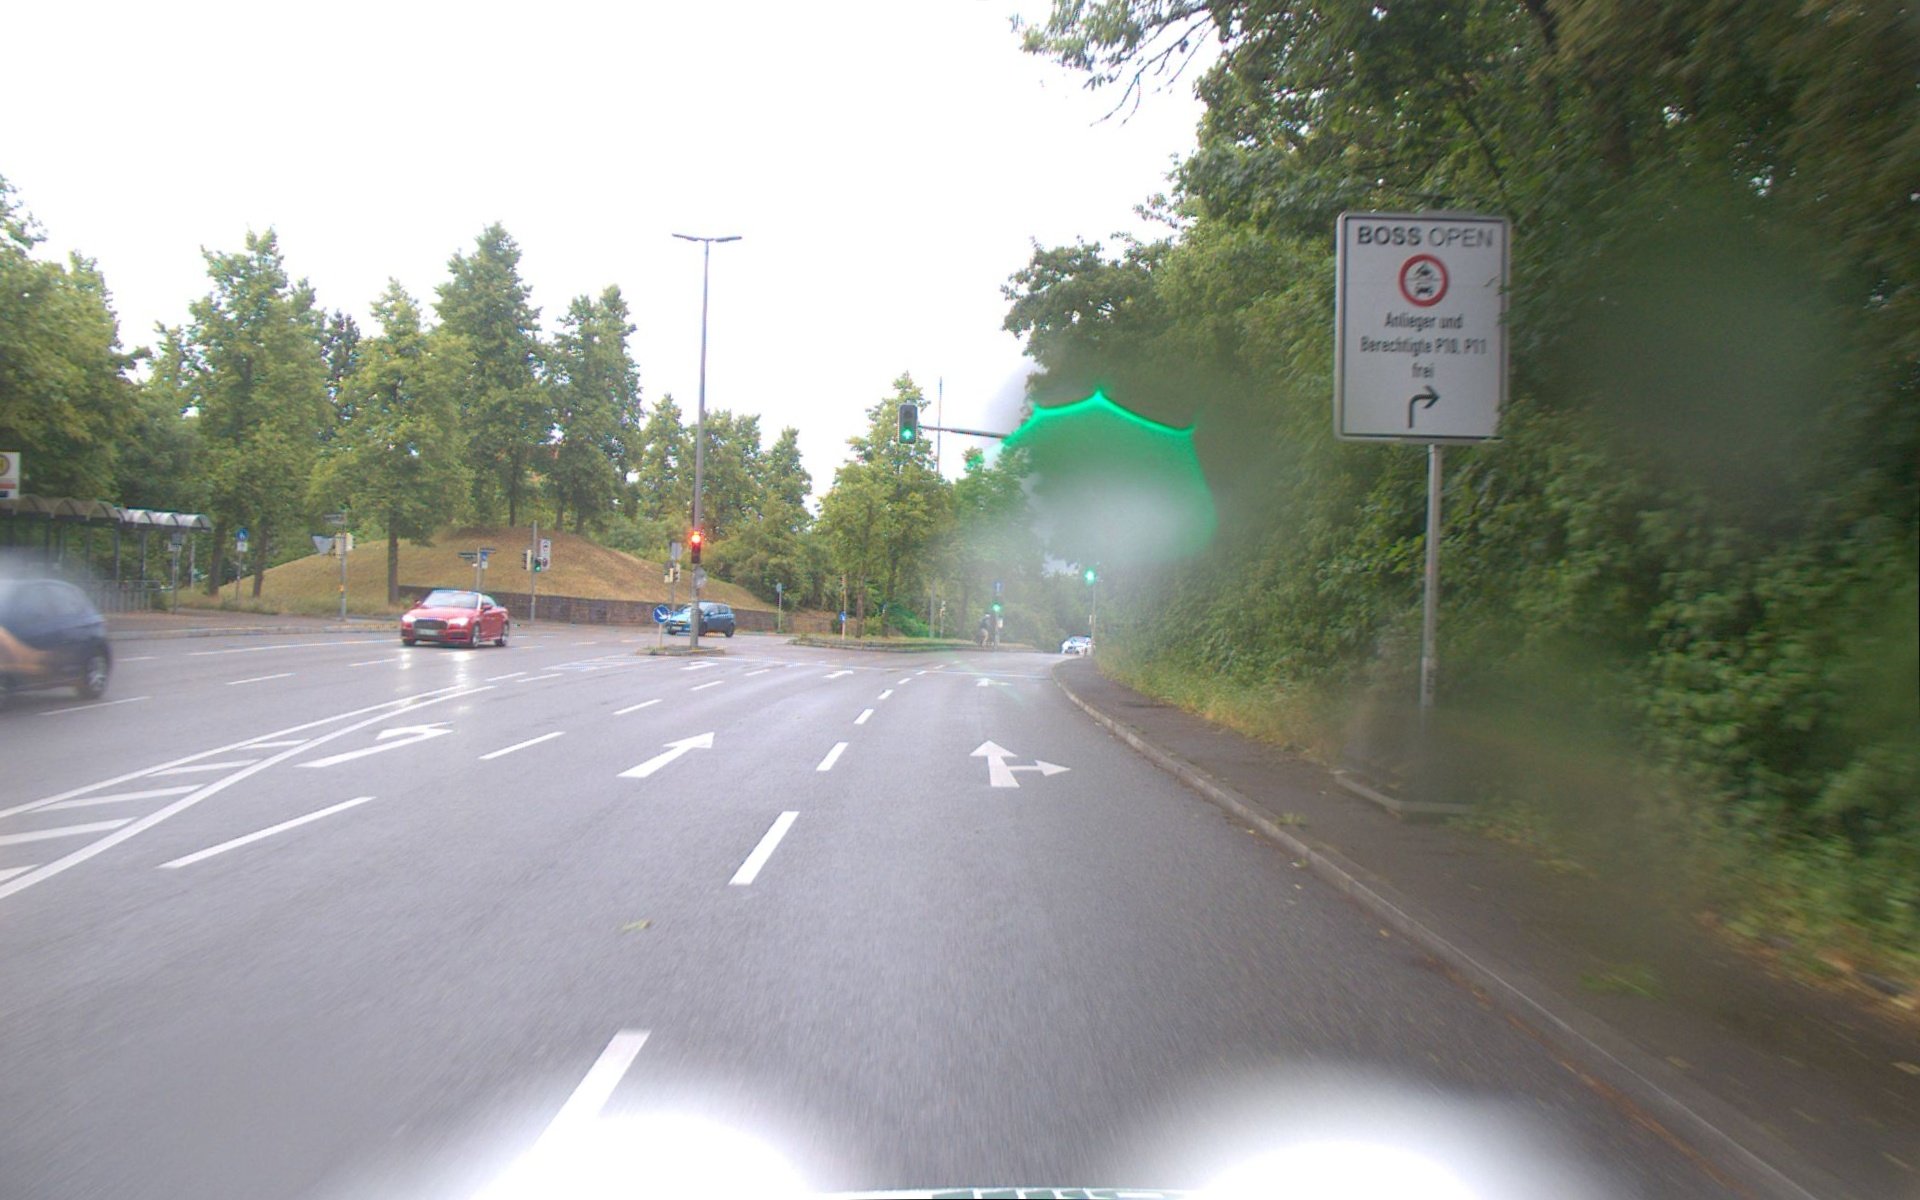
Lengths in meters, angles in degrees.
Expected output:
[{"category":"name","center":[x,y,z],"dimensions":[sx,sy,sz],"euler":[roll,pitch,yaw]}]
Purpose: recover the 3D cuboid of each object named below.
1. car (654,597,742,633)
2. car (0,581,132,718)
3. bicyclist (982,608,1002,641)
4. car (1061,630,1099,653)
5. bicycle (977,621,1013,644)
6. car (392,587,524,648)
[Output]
[{"category":"car","center":[-11.547,0.643,72.991],"dimensions":[1.954,1.516,3.934],"euler":[1,1,25]},{"category":"car","center":[-10.936,0.499,18.505],"dimensions":[1.599,1.419,3.996],"euler":[1,0,-5]},{"category":"bicyclist","center":[1.754,1.337,90.133],"dimensions":[0.795,1.783,0.714],"euler":[5,-5,-43]},{"category":"car","center":[9.880,3.435,135.620],"dimensions":[1.904,1.664,5.006],"euler":[3,-2,18]},{"category":"bicycle","center":[1.897,1.779,90.137],"dimensions":[2.122,1.163,0.545],"euler":[4,-2,-43]},{"category":"car","center":[-12.526,0.388,41.550],"dimensions":[1.836,1.398,4.385],"euler":[1,1,2]}]
